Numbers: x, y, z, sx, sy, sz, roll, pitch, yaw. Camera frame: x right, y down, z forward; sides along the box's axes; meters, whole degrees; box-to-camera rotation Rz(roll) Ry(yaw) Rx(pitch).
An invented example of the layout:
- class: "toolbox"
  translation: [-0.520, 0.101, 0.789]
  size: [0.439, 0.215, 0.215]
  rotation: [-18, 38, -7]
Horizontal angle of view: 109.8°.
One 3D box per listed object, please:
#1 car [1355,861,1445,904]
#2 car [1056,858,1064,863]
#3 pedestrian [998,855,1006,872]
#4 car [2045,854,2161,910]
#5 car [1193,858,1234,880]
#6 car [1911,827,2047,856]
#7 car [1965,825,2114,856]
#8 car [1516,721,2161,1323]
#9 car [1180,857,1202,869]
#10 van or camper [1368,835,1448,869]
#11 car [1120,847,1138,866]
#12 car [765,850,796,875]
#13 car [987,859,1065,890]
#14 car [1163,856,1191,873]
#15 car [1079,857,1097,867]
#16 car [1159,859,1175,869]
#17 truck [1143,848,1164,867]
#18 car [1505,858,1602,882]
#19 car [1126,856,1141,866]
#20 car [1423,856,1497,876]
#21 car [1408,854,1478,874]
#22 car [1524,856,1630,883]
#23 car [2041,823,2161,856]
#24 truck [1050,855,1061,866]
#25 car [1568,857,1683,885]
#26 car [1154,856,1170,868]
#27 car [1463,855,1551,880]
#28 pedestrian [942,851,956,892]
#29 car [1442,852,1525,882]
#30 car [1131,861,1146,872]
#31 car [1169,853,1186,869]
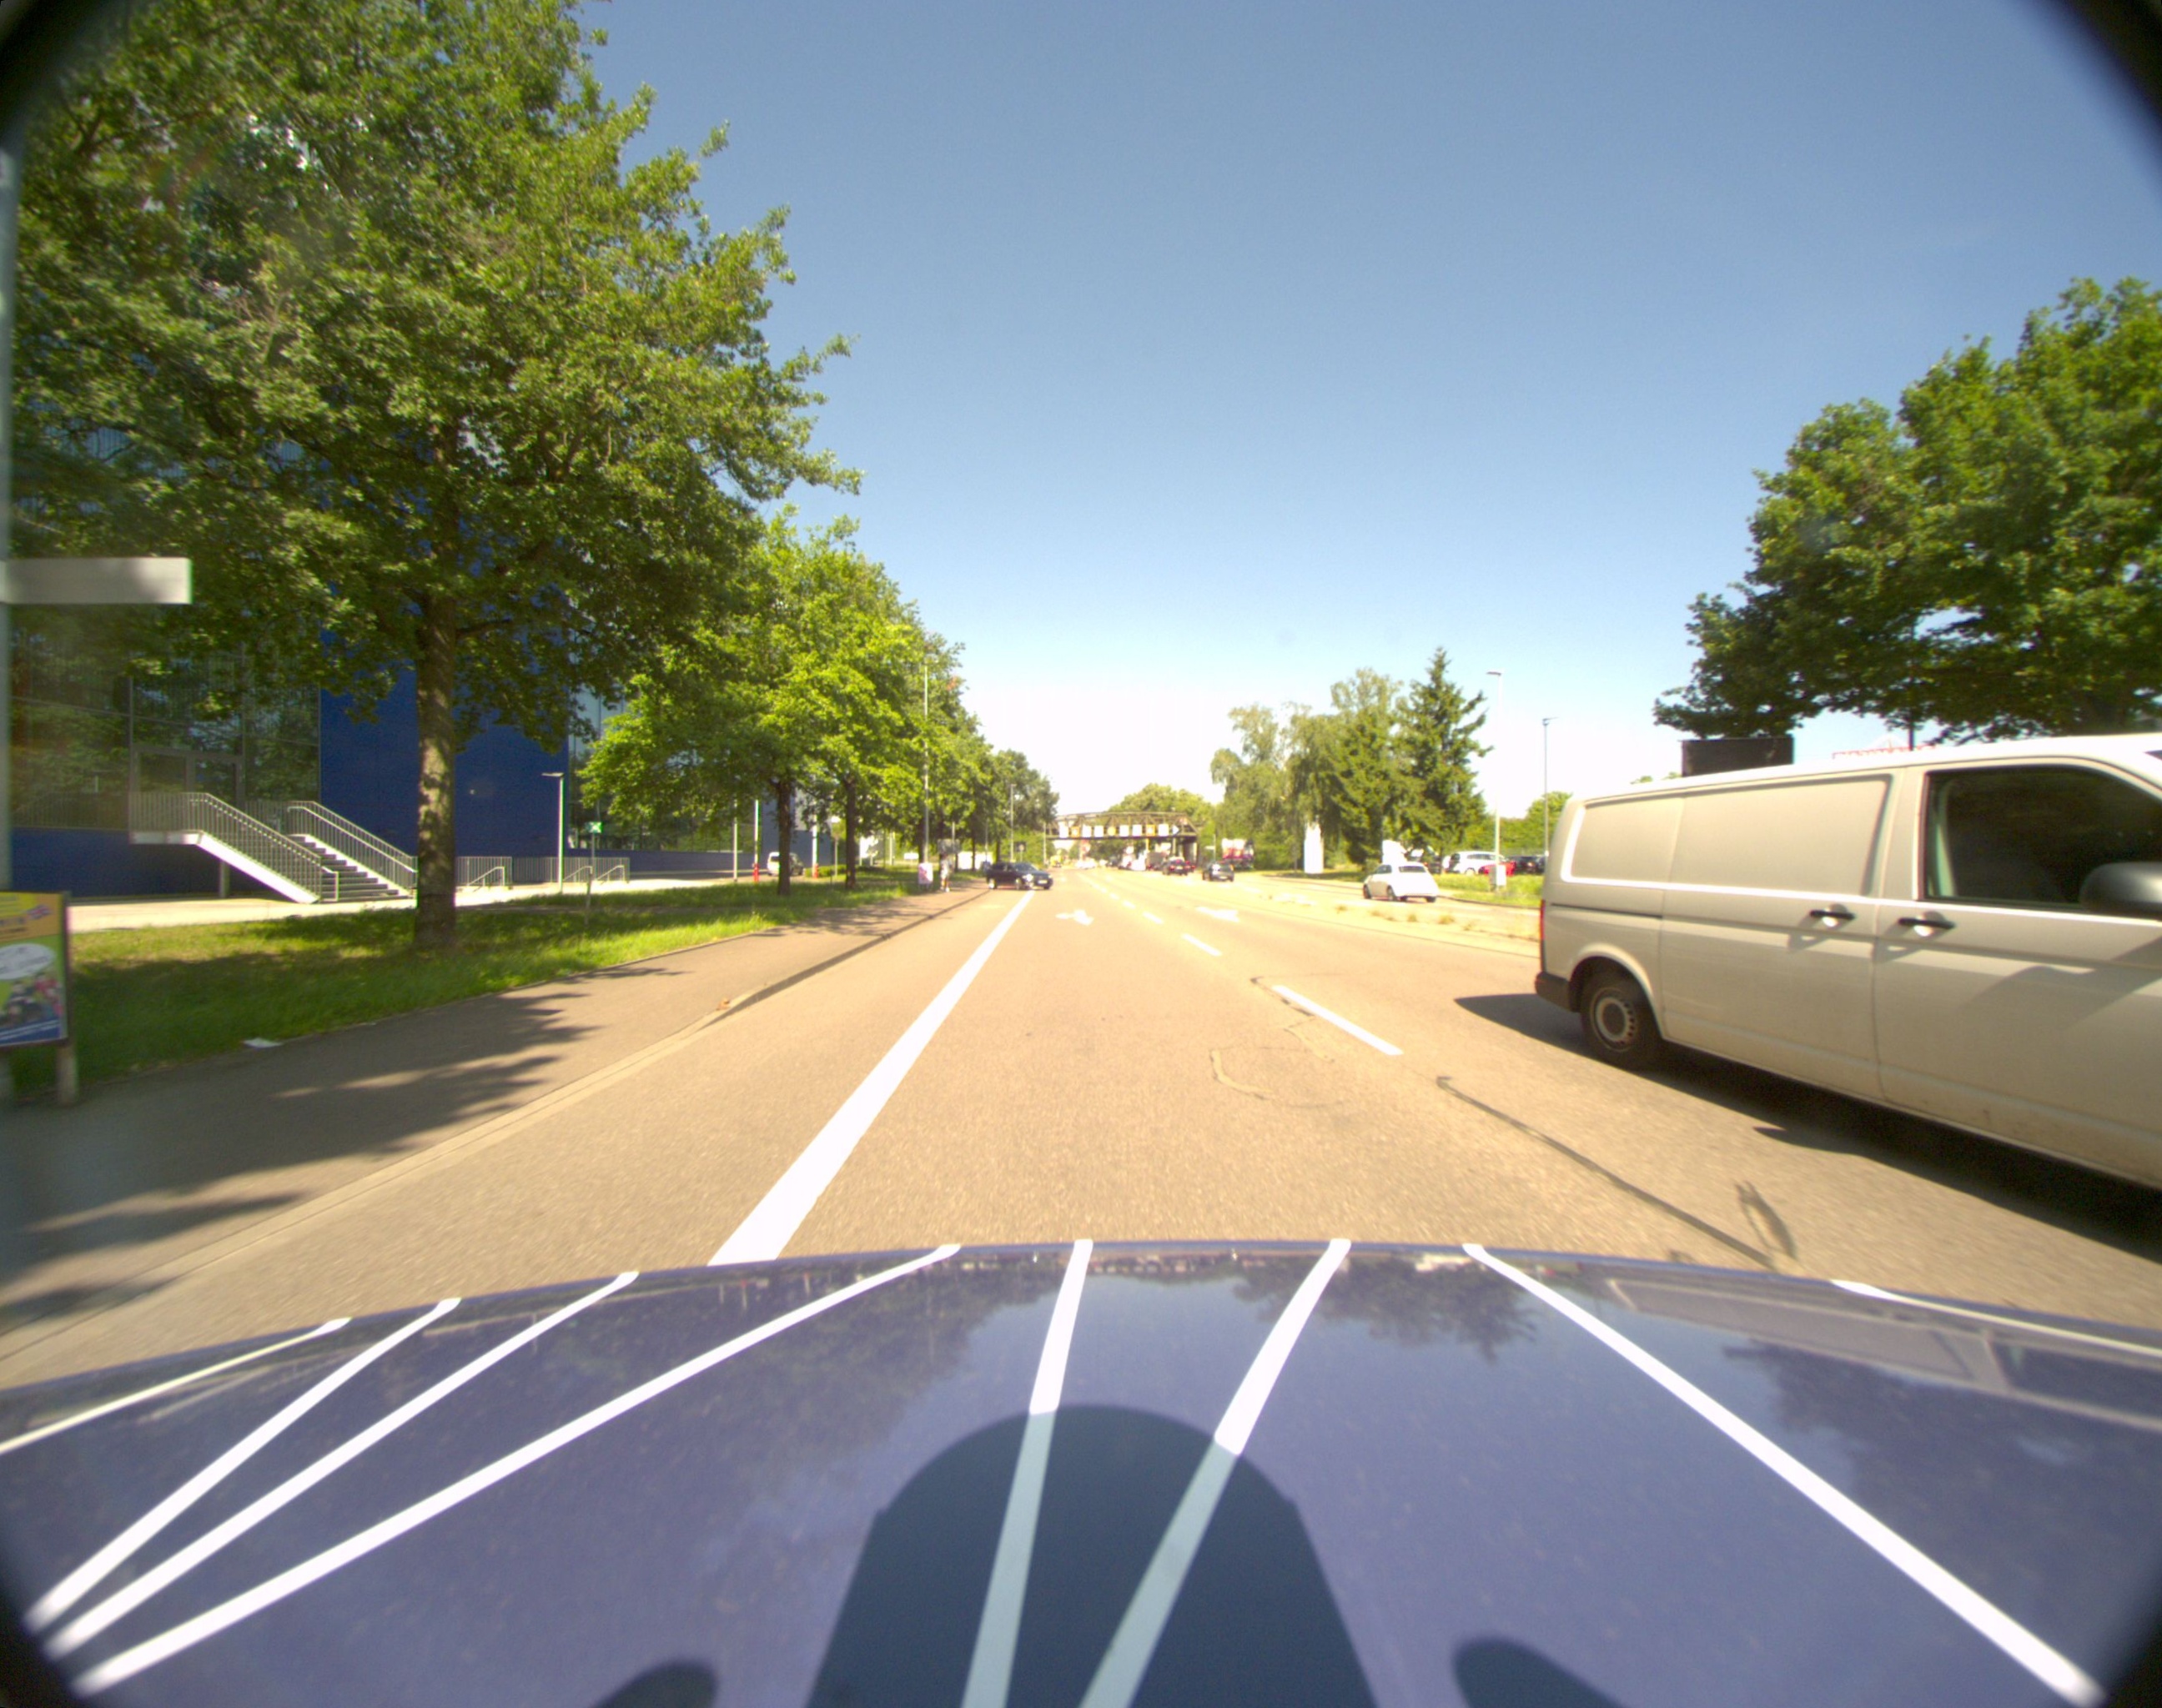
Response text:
- class: "car"
  translation: [11.901, 1.032, 28.577]
  size: [1.658, 1.455, 3.549]
  rotation: [2, 0, -4]
- class: "car"
  translation: [-5.394, 1.624, 193.581]
  size: [1.823, 1.346, 3.998]
  rotation: [0, 0, -5]
- class: "pedestrian"
  translation: [-7.394, 0.853, 70.943]
  size: [0.648, 1.594, 0.846]
  rotation: [0, 0, 0]
- class: "car"
  translation: [27.434, 0.669, 18.939]
  size: [4.276, 1.342, 1.954]
  rotation: [0, 0, 1]
- class: "car"
  translation: [9.165, 1.040, 52.777]
  size: [1.788, 1.406, 3.998]
  rotation: [2, 0, -5]
- class: "car"
  translation: [43.197, -0.598, 36.624]
  size: [4.277, 1.342, 1.954]
  rotation: [0, 0, -1]
- class: "car"
  translation: [43.064, -0.595, 34.213]
  size: [4.277, 1.342, 1.954]
  rotation: [0, 0, -1]
- class: "car"
  translation: [4.460, 0.563, 3.515]
  size: [1.887, 1.982, 4.973]
  rotation: [0, 0, -2]
- class: "car"
  translation: [13.756, 1.133, 95.184]
  size: [1.999, 1.405, 4.680]
  rotation: [0, 0, -2]
- class: "van or camper"
  translation: [25.739, -0.121, 59.986]
  size: [5.393, 2.456, 2.000]
  rotation: [-2, -1, -4]
- class: "car"
  translation: [7.551, 0.447, 120.318]
  size: [1.999, 2.788, 6.936]
  rotation: [2, 0, -3]
- class: "car"
  translation: [-22.952, 0.610, 58.174]
  size: [1.913, 1.818, 4.173]
  rotation: [0, 0, -18]
- class: "car"
  translation: [-2.953, 1.035, 39.695]
  size: [1.915, 1.511, 4.362]
  rotation: [0, 0, -39]
- class: "car"
  translation: [8.764, 0.918, 69.849]
  size: [1.846, 1.455, 4.999]
  rotation: [2, 0, -1]
- class: "car"
  translation: [1.540, 1.670, 166.632]
  size: [3.996, 2.001, 2.001]
  rotation: [-2, -1, 3]
- class: "car"
  translation: [12.649, 1.470, 111.679]
  size: [1.773, 1.485, 4.178]
  rotation: [2, -1, -1]
- class: "truck"
  translation: [11.942, 0.528, 125.820]
  size: [2.348, 3.070, 7.067]
  rotation: [0, 0, -5]
- class: "car"
  translation: [26.673, 0.871, 43.028]
  size: [4.276, 1.320, 1.954]
  rotation: [0, 0, 1]
- class: "car"
  translation: [7.765, 1.066, 112.730]
  size: [1.773, 1.485, 4.178]
  rotation: [2, -1, -1]
- class: "car"
  translation: [25.361, 0.803, 50.971]
  size: [4.097, 1.285, 1.744]
  rotation: [0, 0, 1]
- class: "car"
  translation: [25.523, 0.697, 53.686]
  size: [4.096, 1.346, 1.744]
  rotation: [0, 1, 4]
- class: "car"
  translation: [25.968, 0.817, 39.906]
  size: [4.276, 1.373, 1.954]
  rotation: [0, 0, 1]
- class: "car"
  translation: [43.030, -0.572, 31.406]
  size: [4.277, 1.342, 1.954]
  rotation: [0, 0, -1]
- class: "truck"
  translation: [-7.027, 1.886, 208.810]
  size: [2.411, 2.845, 5.802]
  rotation: [-2, -1, -7]
- class: "car"
  translation: [26.842, 0.810, 37.537]
  size: [4.276, 1.342, 1.954]
  rotation: [0, 0, 1]
- class: "car"
  translation: [12.621, 1.248, 118.830]
  size: [1.989, 1.679, 4.288]
  rotation: [2, -1, -1]
- class: "car"
  translation: [25.823, 0.795, 46.155]
  size: [4.276, 1.495, 1.954]
  rotation: [0, 0, 1]
- class: "pedestrian"
  translation: [-5.921, 0.776, 34.161]
  size: [0.536, 1.831, 0.727]
  rotation: [0, 0, -1]
- class: "car"
  translation: [25.596, 0.822, 48.447]
  size: [4.276, 1.873, 1.954]
  rotation: [0, 0, 1]
- class: "car"
  translation: [7.889, 1.700, 104.387]
  size: [1.647, 1.485, 3.829]
  rotation: [2, -1, -2]
- class: "car"
  translation: [13.252, 0.958, 104.552]
  size: [1.998, 2.002, 5.348]
  rotation: [1, 0, 3]
